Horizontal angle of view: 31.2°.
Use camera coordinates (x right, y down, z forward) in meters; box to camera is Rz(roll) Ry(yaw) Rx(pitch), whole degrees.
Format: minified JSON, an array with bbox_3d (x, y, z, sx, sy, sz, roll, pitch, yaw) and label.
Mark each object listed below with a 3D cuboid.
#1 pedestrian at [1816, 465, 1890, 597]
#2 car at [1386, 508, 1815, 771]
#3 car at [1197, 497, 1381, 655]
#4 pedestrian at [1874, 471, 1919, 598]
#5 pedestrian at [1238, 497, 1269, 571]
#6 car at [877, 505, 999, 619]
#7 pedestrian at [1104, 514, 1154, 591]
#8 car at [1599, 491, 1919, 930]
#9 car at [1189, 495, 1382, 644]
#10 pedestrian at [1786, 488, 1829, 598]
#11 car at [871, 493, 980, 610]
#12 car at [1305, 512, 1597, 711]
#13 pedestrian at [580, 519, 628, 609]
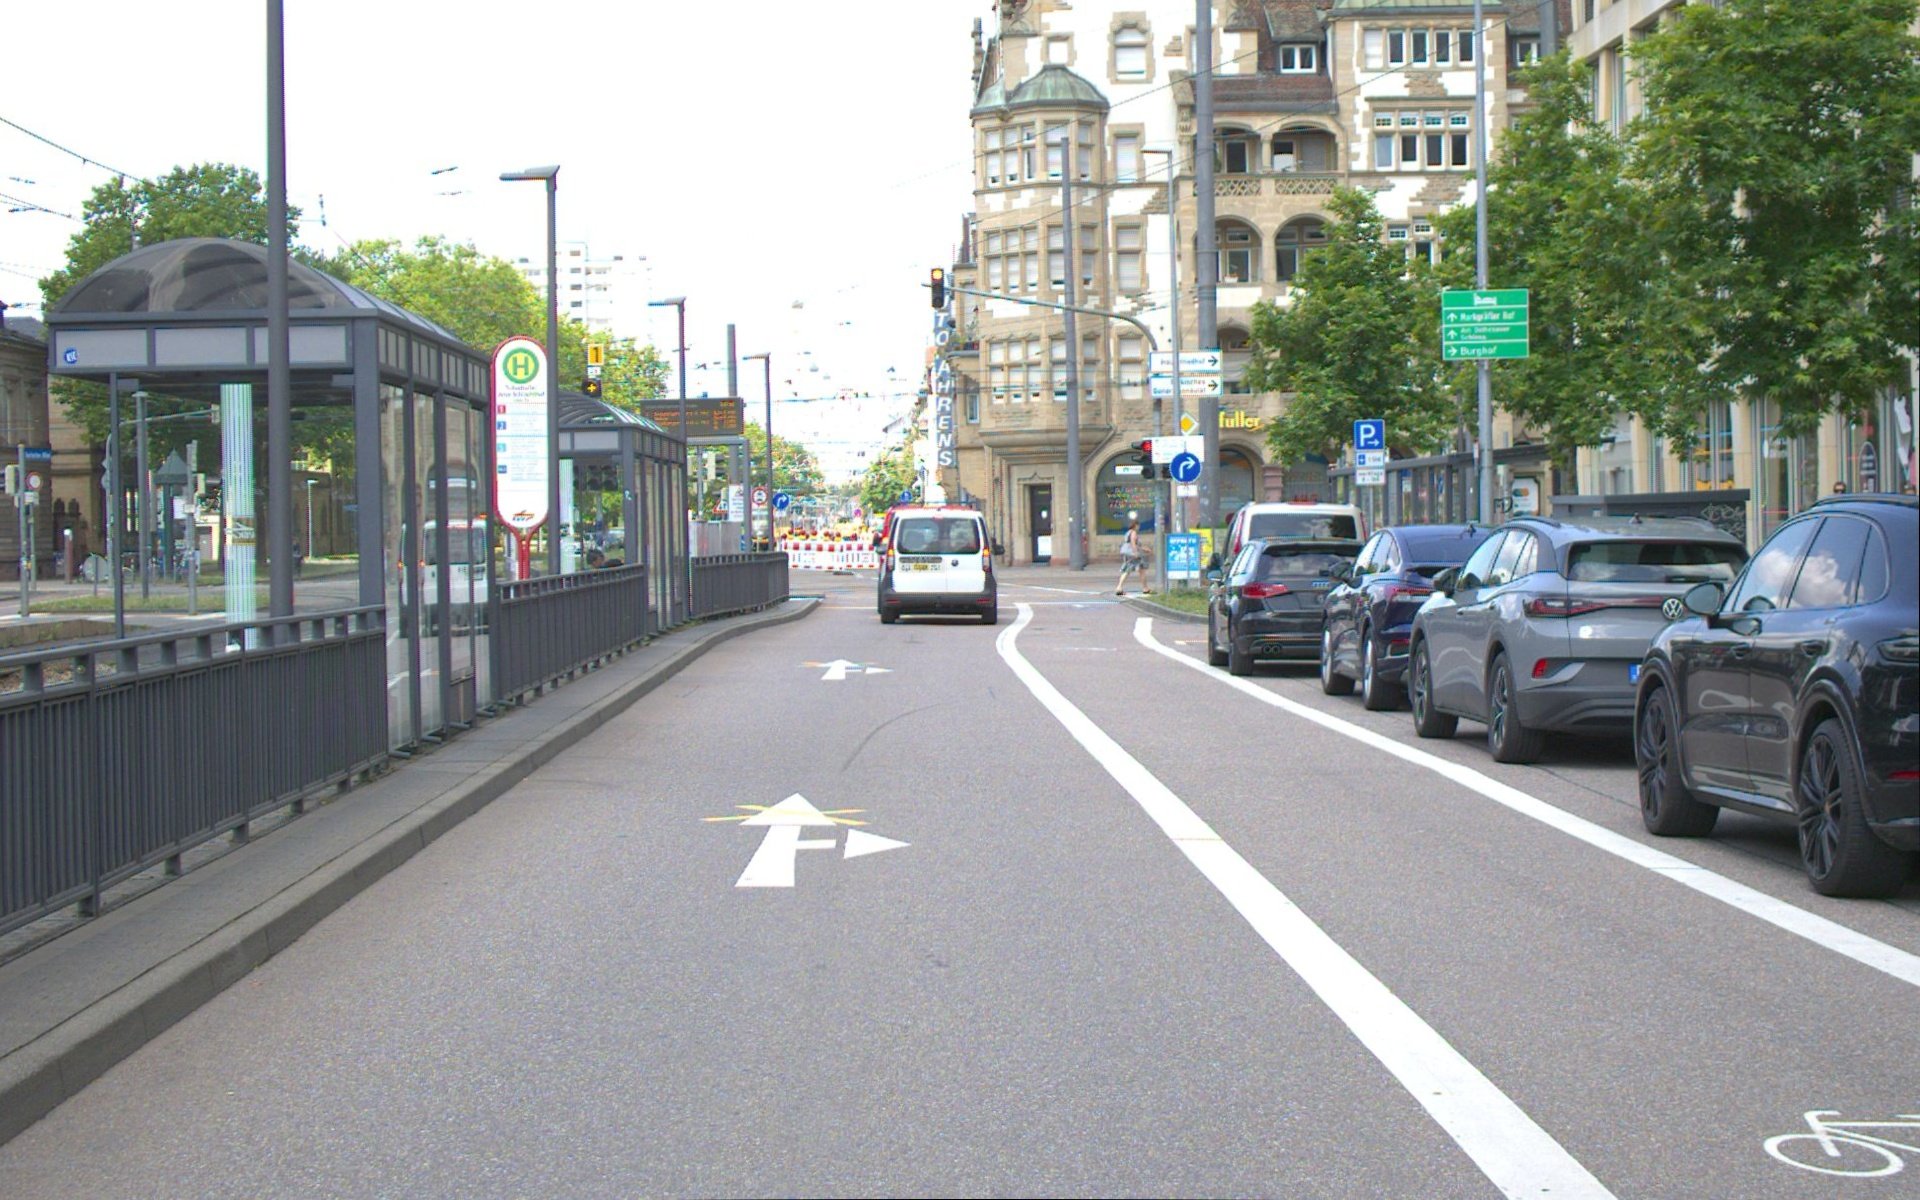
[{"bbox_3d":[11.859,-0.916,45.667,0.760,1.717,0.659,-1,2,-2],"label":"pedestrian"},{"bbox_3d":[4.268,0.180,23.699,1.806,1.586,4.842,0,2,-3],"label":"car"},{"bbox_3d":[3.909,-0.324,41.315,1.709,1.790,3.362,0,2,-3],"label":"car"},{"bbox_3d":[12.628,-0.881,45.686,0.760,1.664,0.659,-1,2,-2],"label":"pedestrian"},{"bbox_3d":[6.353,-1.439,74.427,0.534,1.566,0.543,-3,1,-3],"label":"pedestrian"},{"bbox_3d":[-0.383,-0.643,55.018,1.868,1.740,4.001,0,2,-2],"label":"car"},{"bbox_3d":[3.580,-1.004,72.728,0.805,1.566,0.629,-3,1,-17],"label":"pedestrian"},{"bbox_3d":[4.325,0.351,15.509,1.738,1.663,4.842,0,2,-3],"label":"car"},{"bbox_3d":[3.398,-0.364,36.473,1.443,1.465,4.093,0,2,-3],"label":"car"},{"bbox_3d":[11.254,-0.762,45.648,0.438,1.443,0.434,-1,2,-2],"label":"pedestrian"},{"bbox_3d":[-0.640,-0.896,61.176,1.868,2.013,4.001,0,2,-2],"label":"car"},{"bbox_3d":[4.233,0.041,30.295,1.807,1.586,4.306,1,2,-2],"label":"car"},{"bbox_3d":[-4.600,-0.469,44.468,0.513,1.136,0.501,-3,1,-1],"label":"pedestrian"}]
